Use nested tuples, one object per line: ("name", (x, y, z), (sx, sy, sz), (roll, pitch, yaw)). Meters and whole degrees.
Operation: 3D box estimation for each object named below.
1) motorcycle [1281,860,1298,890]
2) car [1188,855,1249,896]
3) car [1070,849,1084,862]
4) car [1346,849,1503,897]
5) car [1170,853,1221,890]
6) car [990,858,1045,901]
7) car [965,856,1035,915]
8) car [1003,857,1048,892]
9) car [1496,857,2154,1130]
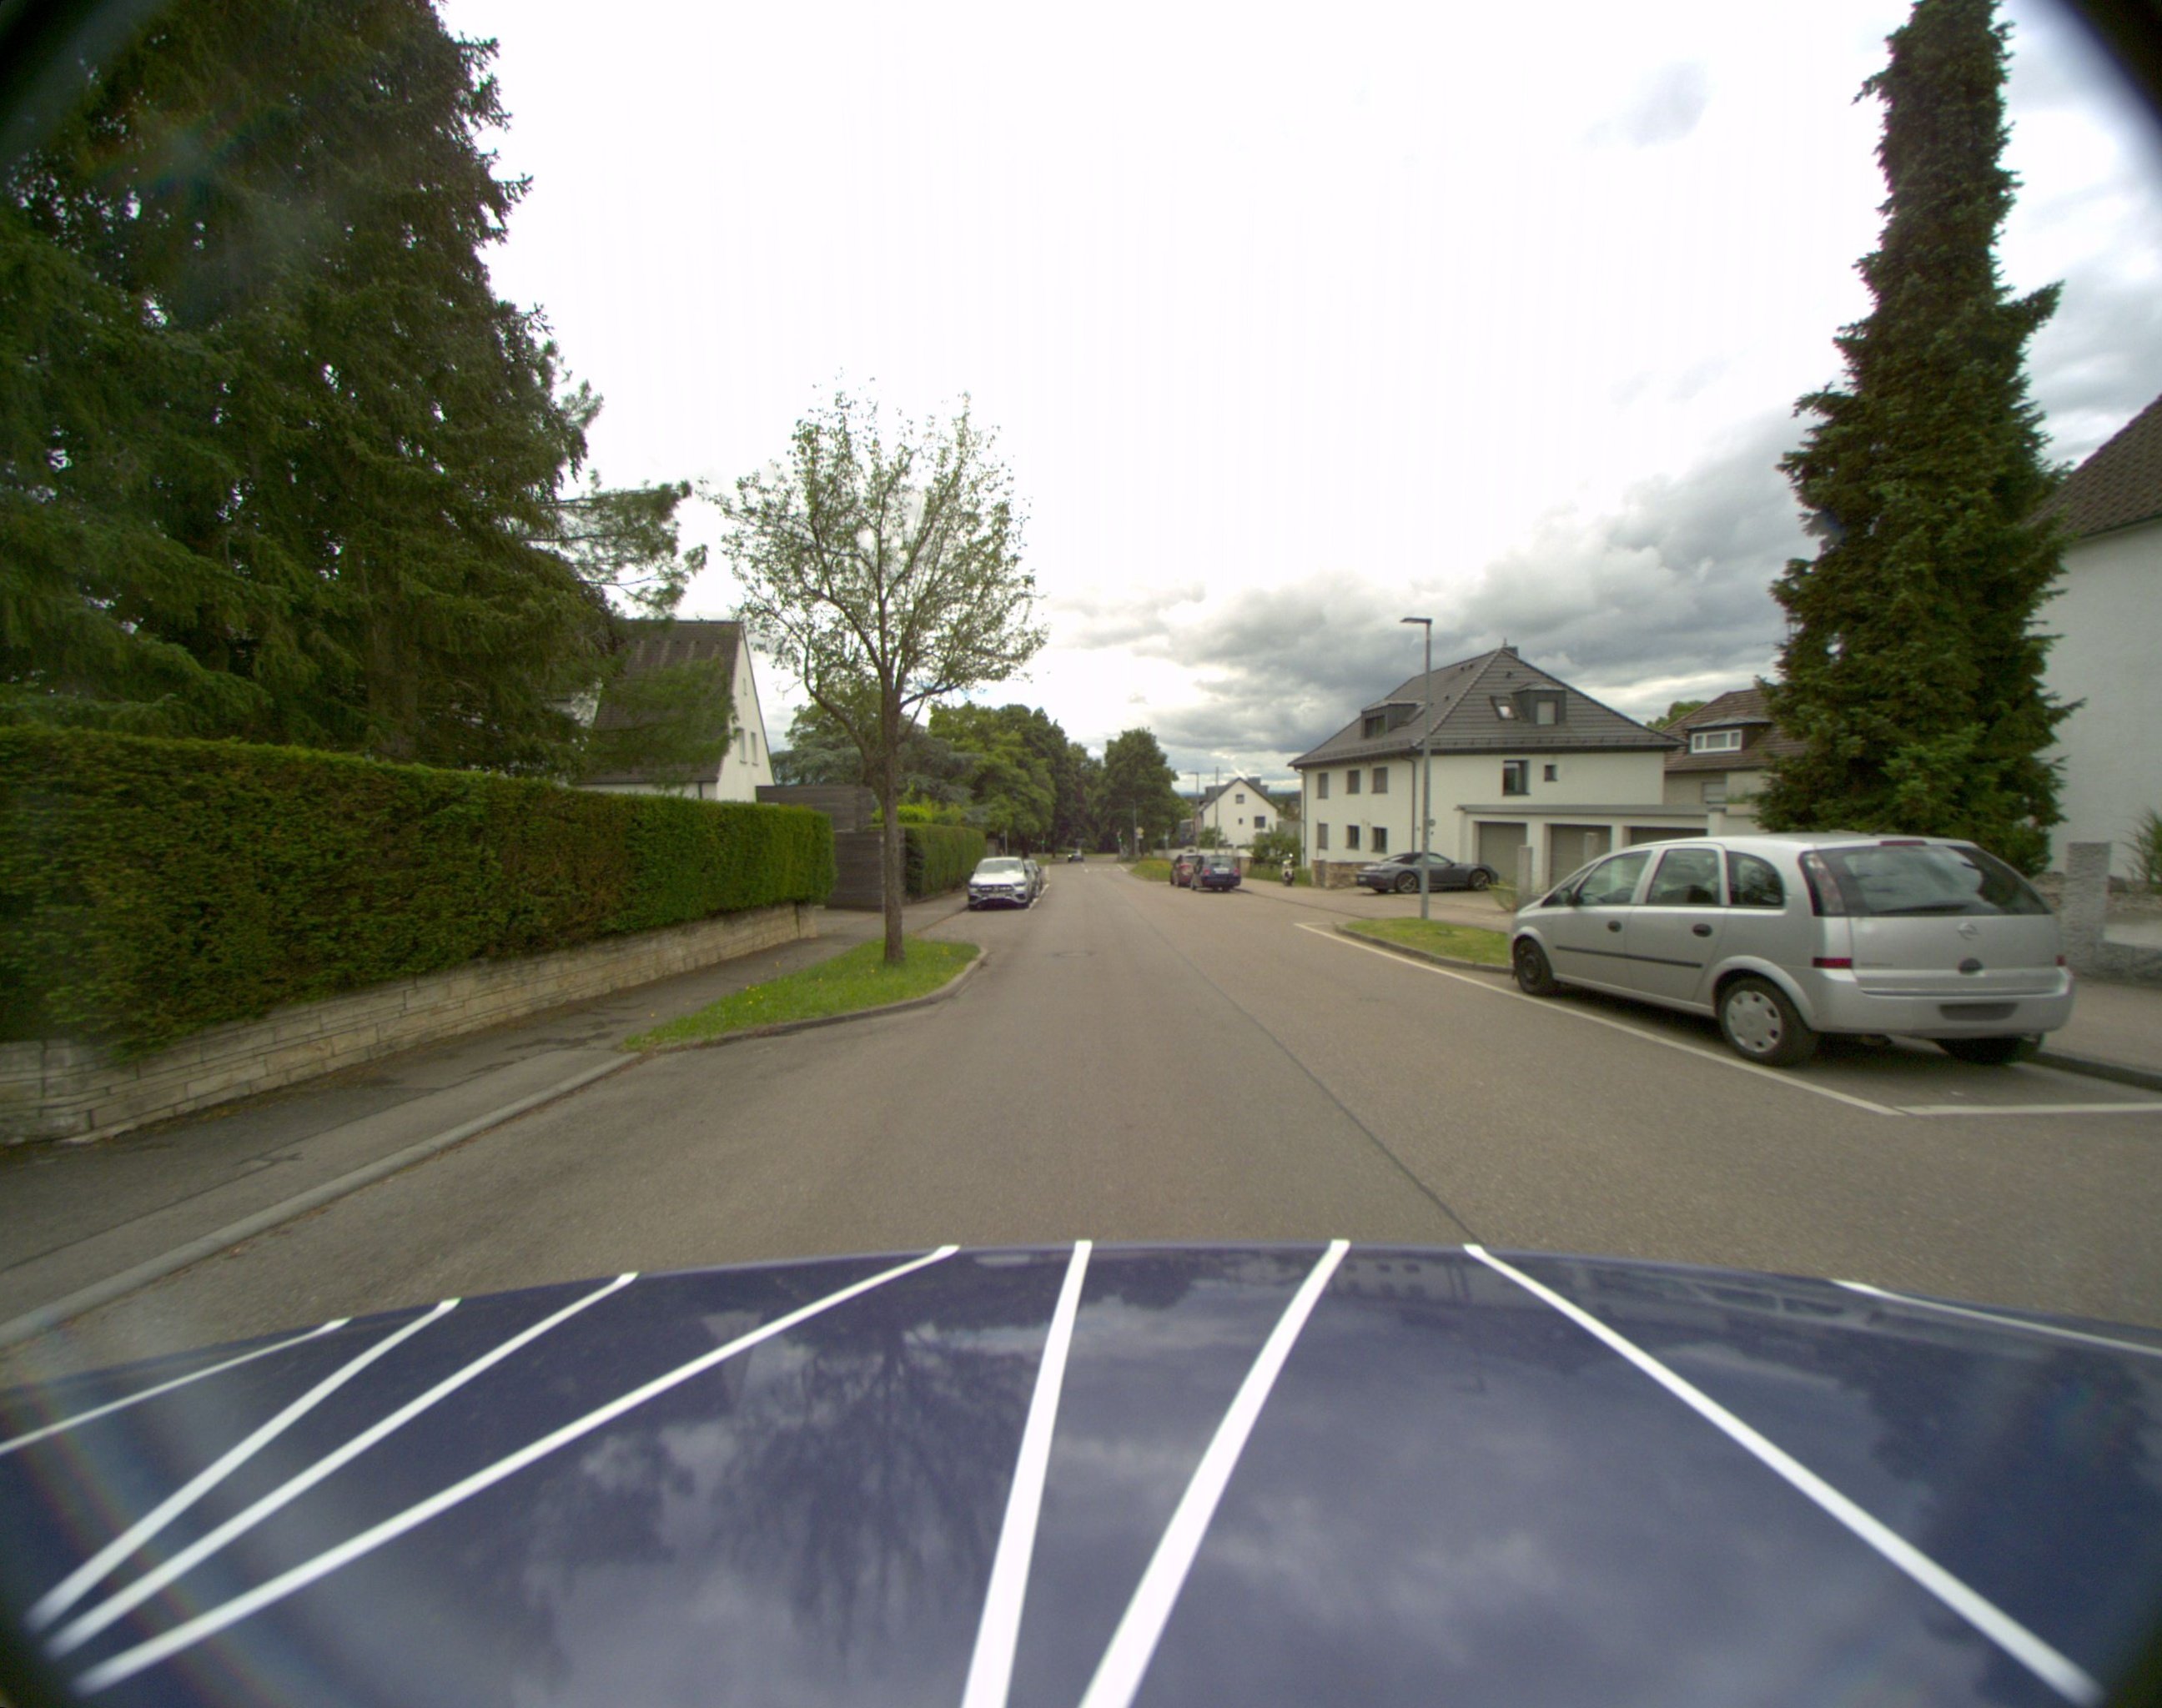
("motorcycle", (8.930, 0.879, 32.578), (0.430, 1.154, 1.863), (0, 2, 8))
("car", (5.532, 0.821, 31.001), (1.882, 1.528, 3.507), (-1, 1, 0))
("car", (-0.447, 0.154, 88.964), (1.568, 1.504, 3.397), (-1, 0, 2))
("car", (11.139, 0.589, 24.803), (4.299, 1.360, 1.903), (-2, 0, -5))
("car", (5.402, 0.796, 36.278), (1.882, 1.576, 3.871), (-1, 1, 0))
("car", (-2.442, 0.939, 30.070), (1.860, 1.455, 4.170), (-2, 1, -2))
("car", (-2.486, 0.930, 24.304), (1.860, 1.573, 4.170), (-2, 1, -2))
("car", (-2.565, 0.928, 35.950), (1.860, 1.455, 3.999), (-2, 1, -2))
("car", (5.423, 0.828, 6.397), (1.765, 1.554, 3.855), (-1, 0, 0))
